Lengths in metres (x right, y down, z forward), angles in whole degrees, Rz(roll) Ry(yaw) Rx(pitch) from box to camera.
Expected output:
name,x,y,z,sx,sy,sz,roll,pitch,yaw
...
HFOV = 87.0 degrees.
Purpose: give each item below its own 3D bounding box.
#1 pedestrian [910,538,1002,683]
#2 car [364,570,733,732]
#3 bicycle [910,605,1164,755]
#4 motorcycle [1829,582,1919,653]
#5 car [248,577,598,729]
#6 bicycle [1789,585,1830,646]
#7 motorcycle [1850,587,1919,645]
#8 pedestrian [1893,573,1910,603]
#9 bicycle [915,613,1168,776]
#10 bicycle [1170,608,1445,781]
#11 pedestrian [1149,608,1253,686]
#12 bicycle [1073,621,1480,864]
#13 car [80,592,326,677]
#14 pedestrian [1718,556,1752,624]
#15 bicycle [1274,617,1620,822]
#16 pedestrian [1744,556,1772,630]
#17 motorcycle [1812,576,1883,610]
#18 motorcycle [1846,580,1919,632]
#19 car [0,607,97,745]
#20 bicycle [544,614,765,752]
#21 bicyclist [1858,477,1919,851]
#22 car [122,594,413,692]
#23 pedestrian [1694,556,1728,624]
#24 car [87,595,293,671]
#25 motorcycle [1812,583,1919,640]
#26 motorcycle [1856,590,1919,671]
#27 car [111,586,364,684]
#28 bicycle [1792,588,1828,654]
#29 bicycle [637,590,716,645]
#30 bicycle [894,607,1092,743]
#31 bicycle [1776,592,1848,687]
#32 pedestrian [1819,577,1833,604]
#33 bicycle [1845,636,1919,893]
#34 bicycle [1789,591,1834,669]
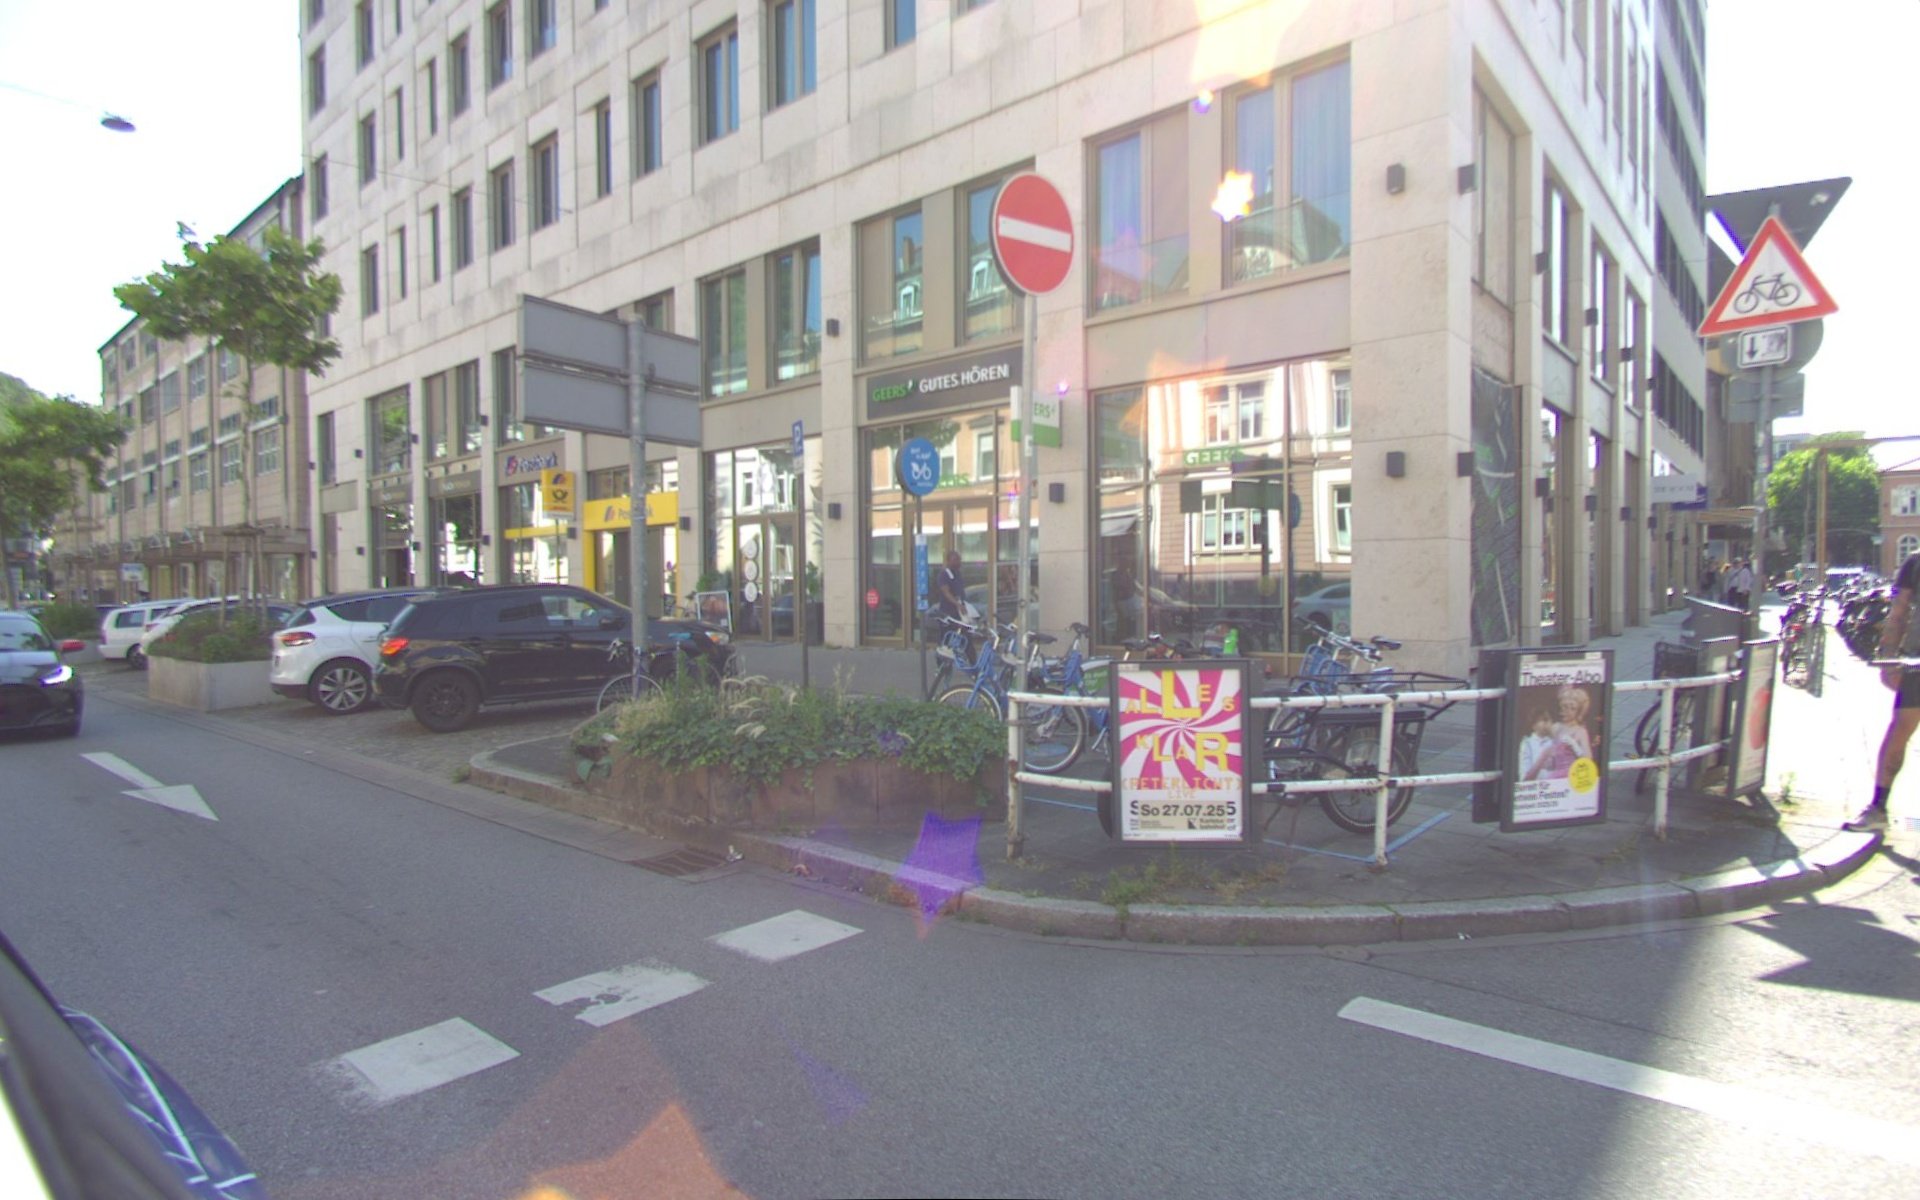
name,x,y,z,sx,sy,sz,roll,pitch,yaw
pedestrian,-0.051,0.119,13.943,0.844,1.892,0.830,0,4,42
car,-5.110,0.509,12.797,3.965,1.614,1.965,-3,3,-26
bicycle,0.731,0.681,9.294,2.289,1.135,0.564,-3,2,-24
motorcycle,16.403,0.291,17.494,2.039,1.182,0.653,-2,-1,7
car,-7.805,0.637,14.891,4.107,1.648,2.106,-6,4,-40
bicycle,16.975,0.289,20.207,0.570,1.117,2.036,-1,1,41
motorcycle,18.931,0.295,20.039,2.035,1.075,0.605,-2,1,0
pedestrian,60.838,-0.782,65.381,0.767,1.890,0.658,0,0,42
bicycle,0.701,0.733,8.431,2.029,1.135,0.564,-3,1,-24
bicycle,2.656,0.660,7.692,2.029,1.135,0.649,-2,0,-22
pedestrian,3.123,0.579,13.080,0.841,0.932,1.237,-1,0,40
bicycle,1.695,0.742,5.568,2.034,1.182,0.606,-1,2,-3
car,-18.044,0.746,24.446,4.426,1.443,1.869,-7,4,-29
pedestrian,20.526,-0.261,26.800,0.667,1.771,0.757,0,0,42
bicycle,3.085,0.710,6.448,2.030,1.178,0.607,0,0,-12
pedestrian,25.162,-0.219,31.910,0.667,2.309,0.757,0,0,42
motorcycle,33.432,-0.262,38.154,1.854,1.182,0.703,-2,1,20
motorcycle,22.668,0.127,24.401,2.034,1.205,0.708,-1,1,-3
car,-11.987,0.842,12.100,4.102,1.489,1.845,-1,-1,39
bicycle,-2.983,0.769,10.101,0.485,1.135,2.117,-2,1,42
bicyclist,5.543,0.334,5.418,0.832,1.974,1.018,-1,0,-43
car,-13.278,0.776,19.703,4.246,1.460,1.792,-4,3,-15
pedestrian,20.156,-0.261,27.152,0.667,1.771,0.757,0,0,42
car,-20.142,0.791,26.600,1.819,1.539,3.947,2,5,40
motorcycle,20.457,0.248,22.702,2.035,1.182,0.707,-2,1,0
motorcycle,14.711,0.423,14.970,2.045,1.182,0.654,-2,-2,15
car,-15.522,0.693,22.007,3.971,1.604,1.825,-5,4,-16
bicycle,15.564,0.365,18.521,0.454,1.135,2.036,-1,0,41
bicycle,-6.094,0.372,21.661,2.160,1.115,0.490,-1,2,42
bicycle,0.337,0.691,9.818,1.834,1.135,0.486,-3,1,-24
bicycle,11.375,0.485,13.490,0.640,1.135,2.036,4,3,41
pedestrian,61.230,-0.669,71.541,0.767,1.890,0.658,0,0,42
bicycle,5.366,0.803,5.333,1.962,1.135,0.800,-1,0,-42
bicycle,13.773,0.454,16.400,0.454,1.135,2.037,5,4,39
